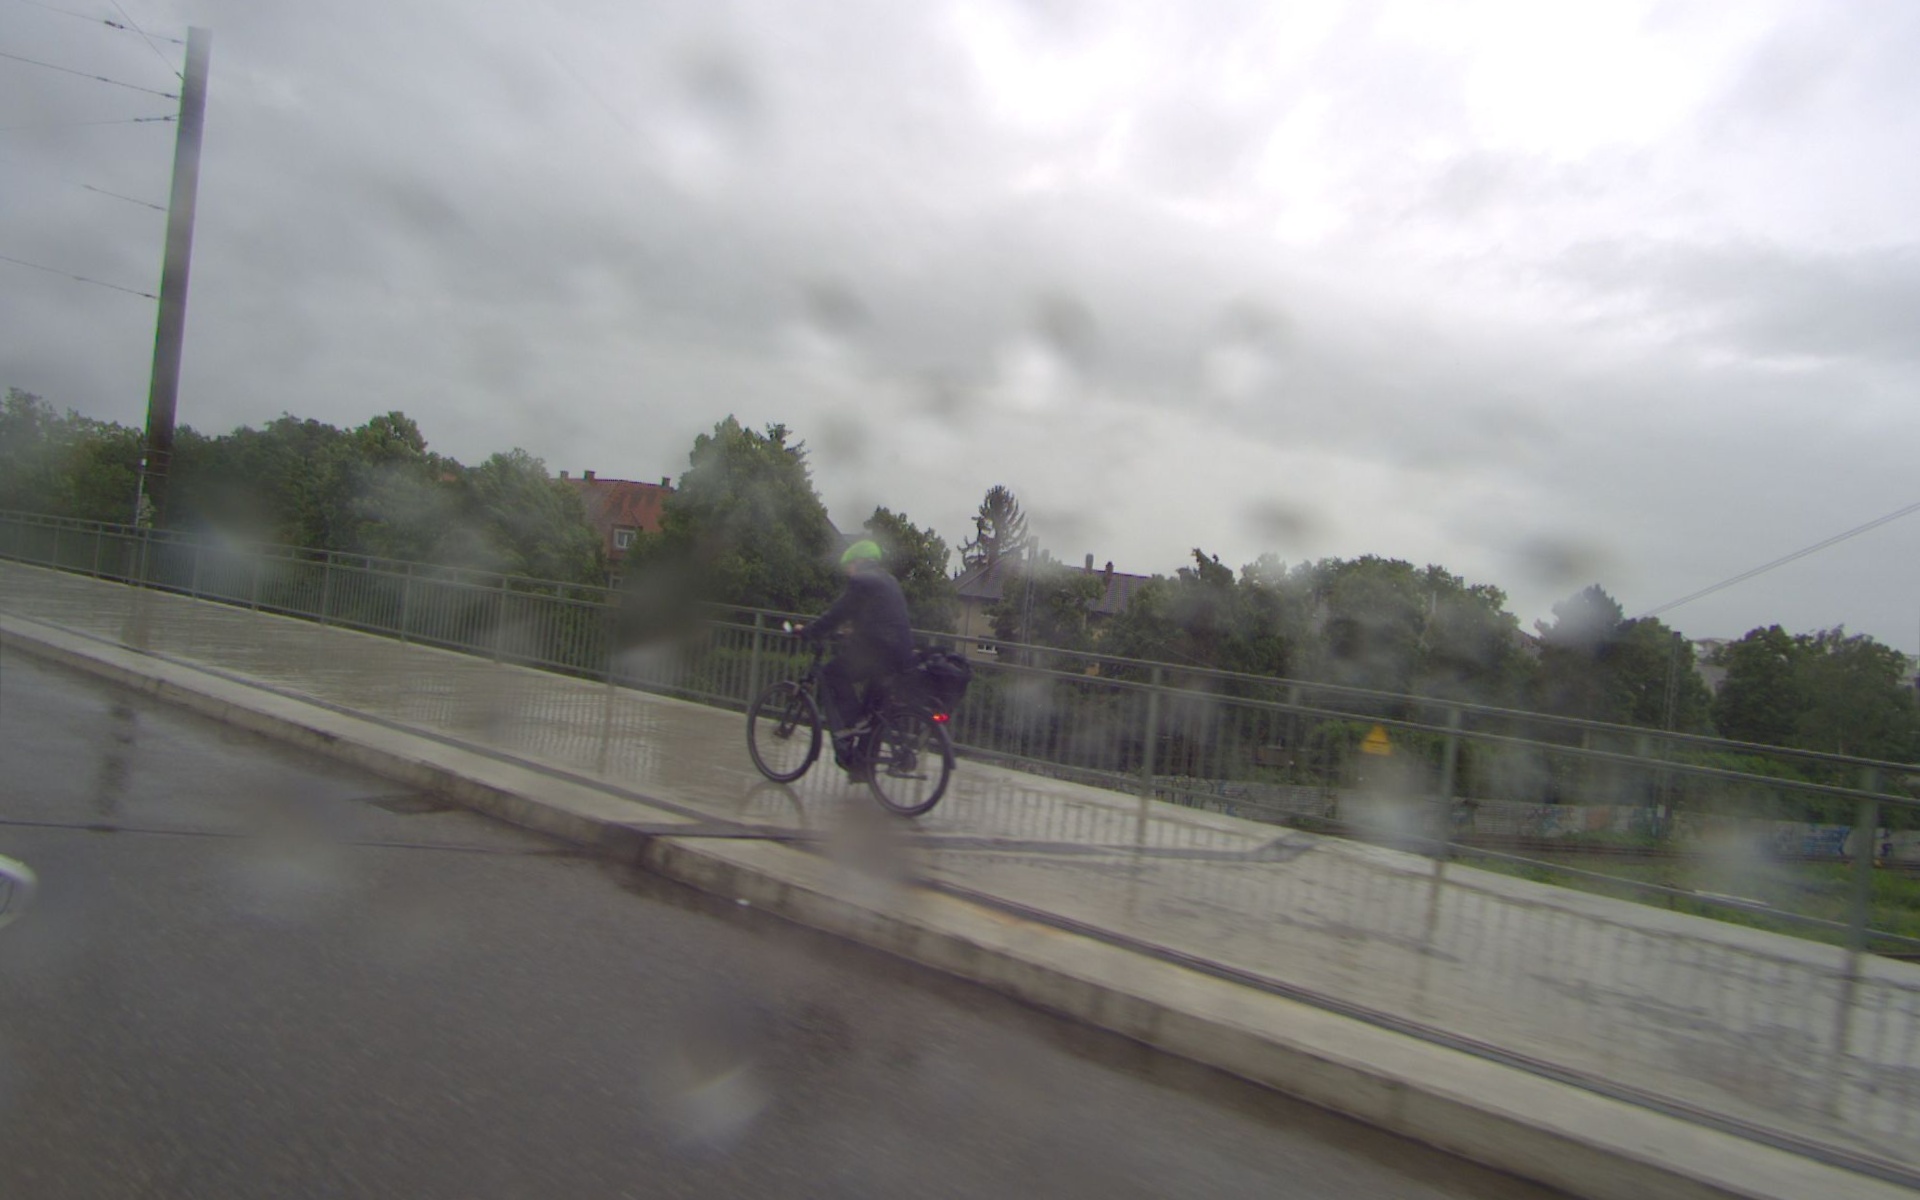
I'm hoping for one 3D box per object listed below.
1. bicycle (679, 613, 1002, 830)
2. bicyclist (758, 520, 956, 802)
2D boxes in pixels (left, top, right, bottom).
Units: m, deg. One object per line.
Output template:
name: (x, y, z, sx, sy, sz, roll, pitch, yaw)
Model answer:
bicycle: (-0.874, 0.789, 7.020, 2.132, 1.141, 0.725, 6, -3, 32)
bicyclist: (-0.704, 0.404, 6.961, 0.934, 1.783, 0.727, 5, -3, 32)
